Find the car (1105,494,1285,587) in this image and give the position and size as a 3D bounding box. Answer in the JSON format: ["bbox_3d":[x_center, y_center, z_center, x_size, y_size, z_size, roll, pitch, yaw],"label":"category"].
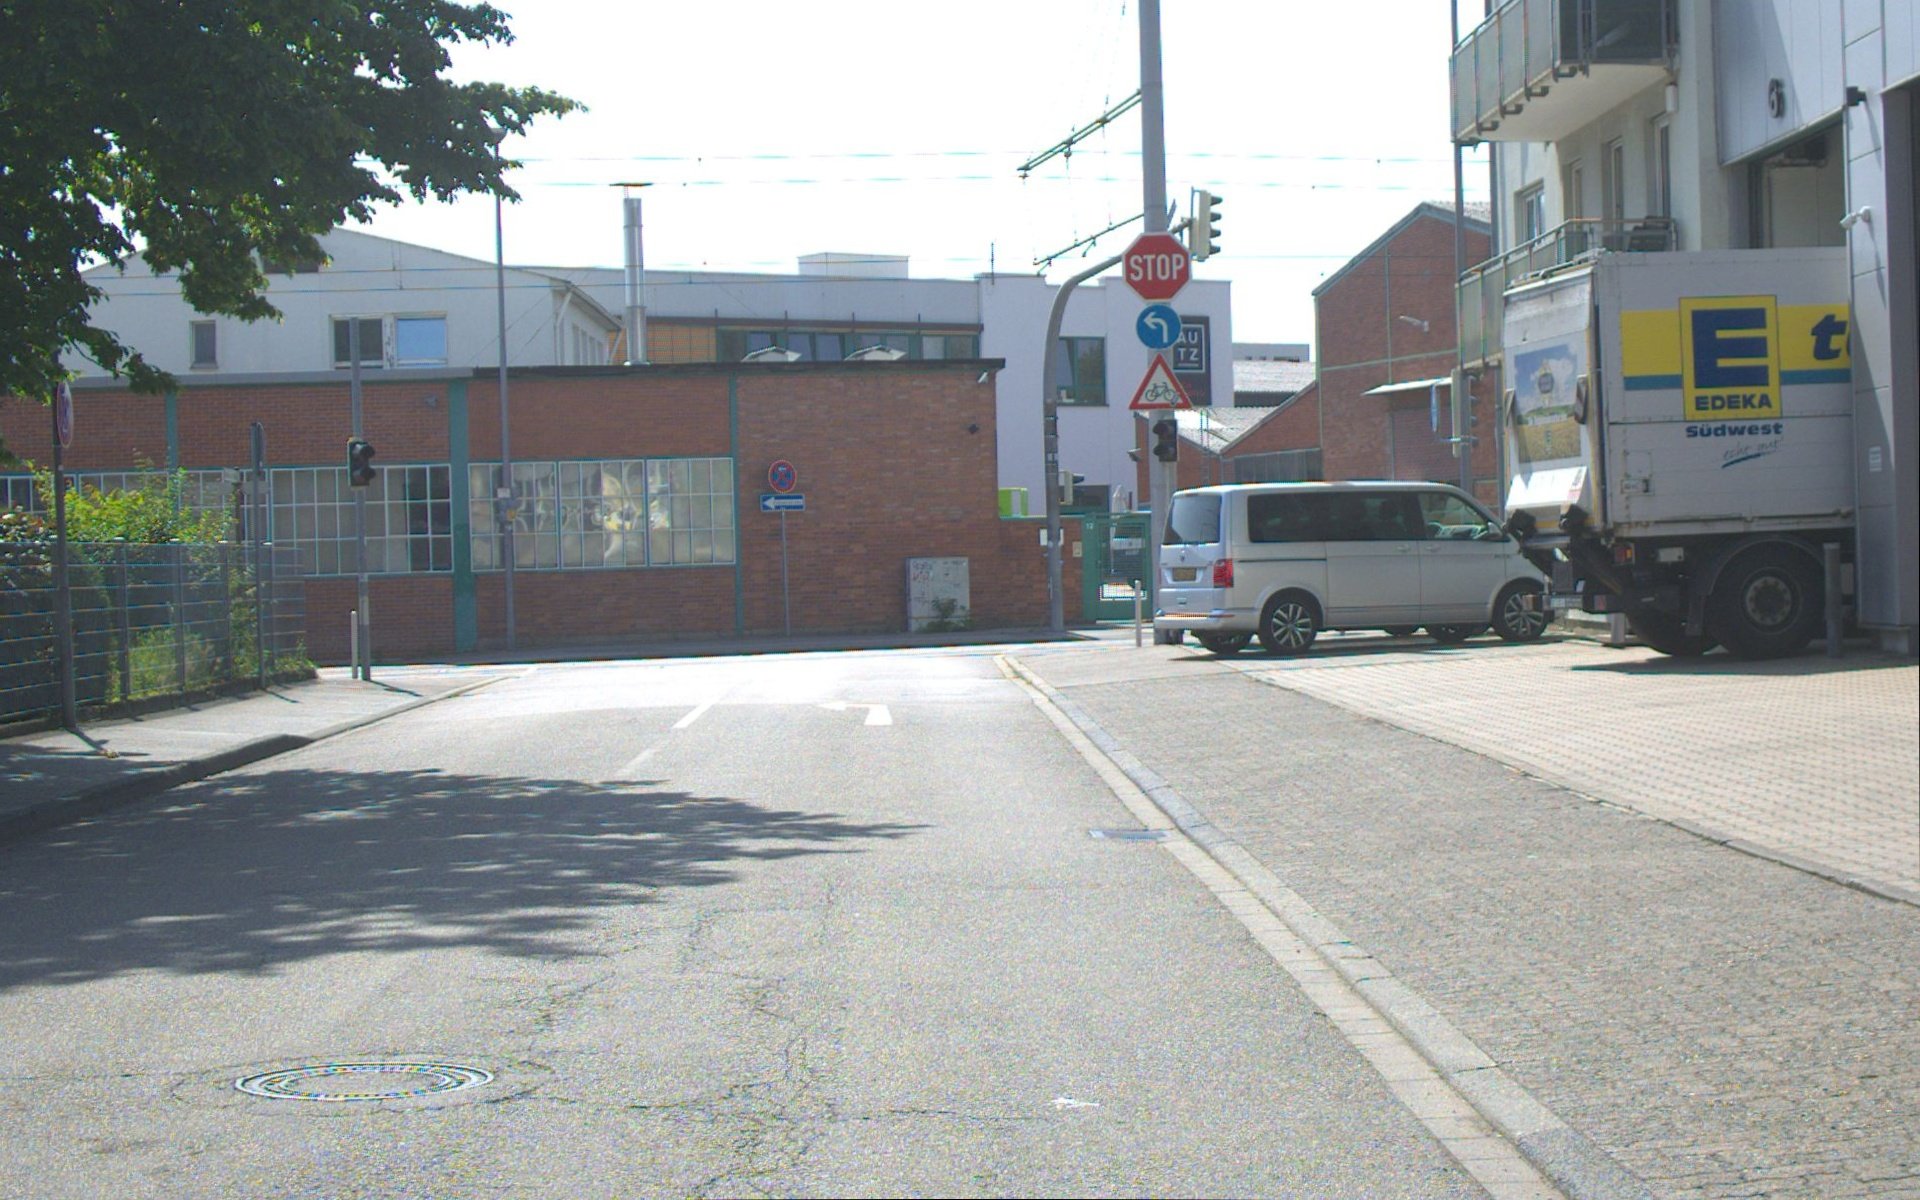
[{"bbox_3d":[5.822,-1.482,85.079,3.987,2.182,2.000,-2,1,-33],"label":"car"}]

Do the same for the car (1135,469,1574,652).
[{"bbox_3d":[4.579,-0.476,39.952,4.653,1.951,1.917,-2,1,-20],"label":"car"}]

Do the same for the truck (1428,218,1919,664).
[{"bbox_3d":[8.367,-1.563,31.589,7.357,3.633,2.768,-4,1,-7],"label":"truck"}]
